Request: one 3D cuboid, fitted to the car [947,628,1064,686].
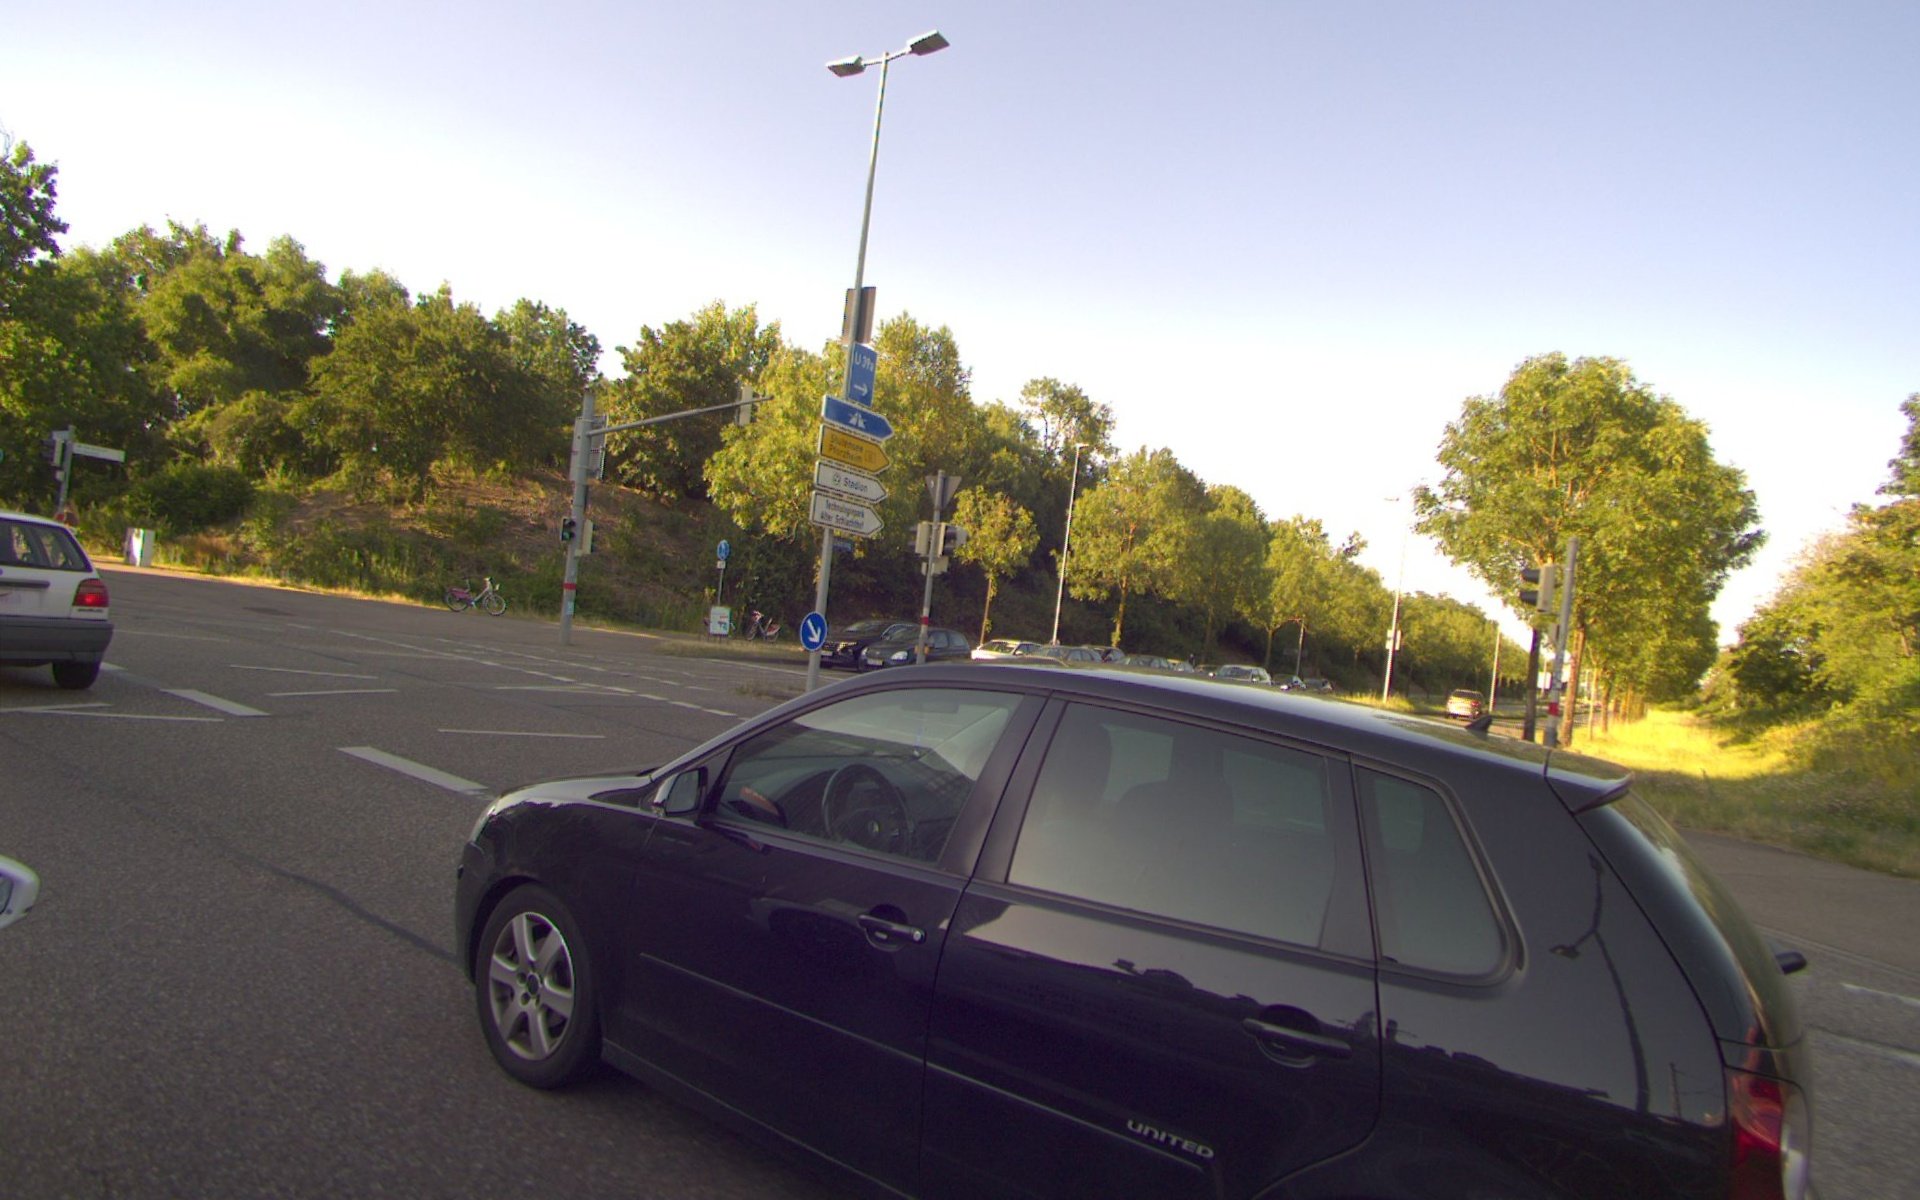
[{"bbox_3d":[1.714,2.093,36.344,2.011,1.585,4.330,5,-4,38],"label":"car"}]

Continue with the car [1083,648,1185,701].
[{"bbox_3d":[6.792,2.923,38.971,2.011,1.585,4.330,5,-4,38],"label":"car"}]

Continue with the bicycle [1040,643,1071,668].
[{"bbox_3d":[5.233,3.041,54.890,0.808,1.124,2.017,5,-3,31],"label":"bicycle"}]

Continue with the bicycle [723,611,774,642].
[{"bbox_3d":[-8.207,1.028,39.148,1.788,0.991,0.631,10,-4,-44],"label":"bicycle"}]

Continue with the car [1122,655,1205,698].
[{"bbox_3d":[9.630,3.620,47.387,2.011,1.585,4.330,5,-4,38],"label":"car"}]

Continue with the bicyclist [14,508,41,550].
[{"bbox_3d":[-31.004,-2.359,33.437,0.452,1.323,0.428,5,-2,32],"label":"bicyclist"}]

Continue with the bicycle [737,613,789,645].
[{"bbox_3d":[-7.485,1.103,38.211,1.788,0.991,0.631,10,-2,-44],"label":"bicycle"}]

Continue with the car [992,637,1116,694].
[{"bbox_3d":[3.194,2.201,33.378,2.011,1.423,4.330,5,-4,38],"label":"car"}]

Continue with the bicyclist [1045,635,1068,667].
[{"bbox_3d":[5.285,2.783,54.914,0.780,1.612,0.859,5,-3,32],"label":"bicyclist"}]

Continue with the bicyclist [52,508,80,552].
[{"bbox_3d":[-26.937,-2.104,30.300,0.452,1.248,0.428,5,-1,32],"label":"bicyclist"}]

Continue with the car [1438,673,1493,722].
[{"bbox_3d":[26.295,5.096,52.284,1.968,2.202,3.994,5,-4,33],"label":"car"}]

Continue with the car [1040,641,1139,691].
[{"bbox_3d":[5.412,2.757,41.616,2.011,1.585,4.330,5,-4,38],"label":"car"}]

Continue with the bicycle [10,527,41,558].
[{"bbox_3d":[-31.010,-1.925,33.381,1.010,0.924,0.438,5,-3,32],"label":"bicycle"}]

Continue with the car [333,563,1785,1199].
[{"bbox_3d":[-0.031,0.808,3.054,3.622,1.425,1.620,5,-3,32],"label":"car"}]

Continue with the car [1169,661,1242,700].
[{"bbox_3d":[12.856,4.239,52.472,2.011,1.585,4.330,5,-4,38],"label":"car"}]

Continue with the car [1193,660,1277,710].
[{"bbox_3d":[10.602,3.296,38.597,1.860,1.547,3.995,5,-4,33],"label":"car"}]

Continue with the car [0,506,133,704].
[{"bbox_3d":[-8.778,-0.121,8.368,3.995,1.429,1.582,5,-3,31],"label":"car"}]

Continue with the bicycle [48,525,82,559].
[{"bbox_3d":[-26.877,-1.736,30.211,1.010,0.926,0.437,5,0,32],"label":"bicycle"}]

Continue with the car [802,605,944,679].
[{"bbox_3d":[-2.517,1.291,29.912,1.835,1.712,3.989,5,-4,38],"label":"car"}]

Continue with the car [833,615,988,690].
[{"bbox_3d":[-1.272,1.452,27.313,1.971,1.547,3.989,5,-4,38],"label":"car"}]

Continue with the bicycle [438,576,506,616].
[{"bbox_3d":[-14.654,-0.113,30.214,1.656,1.004,0.571,7,2,-42],"label":"bicycle"}]
